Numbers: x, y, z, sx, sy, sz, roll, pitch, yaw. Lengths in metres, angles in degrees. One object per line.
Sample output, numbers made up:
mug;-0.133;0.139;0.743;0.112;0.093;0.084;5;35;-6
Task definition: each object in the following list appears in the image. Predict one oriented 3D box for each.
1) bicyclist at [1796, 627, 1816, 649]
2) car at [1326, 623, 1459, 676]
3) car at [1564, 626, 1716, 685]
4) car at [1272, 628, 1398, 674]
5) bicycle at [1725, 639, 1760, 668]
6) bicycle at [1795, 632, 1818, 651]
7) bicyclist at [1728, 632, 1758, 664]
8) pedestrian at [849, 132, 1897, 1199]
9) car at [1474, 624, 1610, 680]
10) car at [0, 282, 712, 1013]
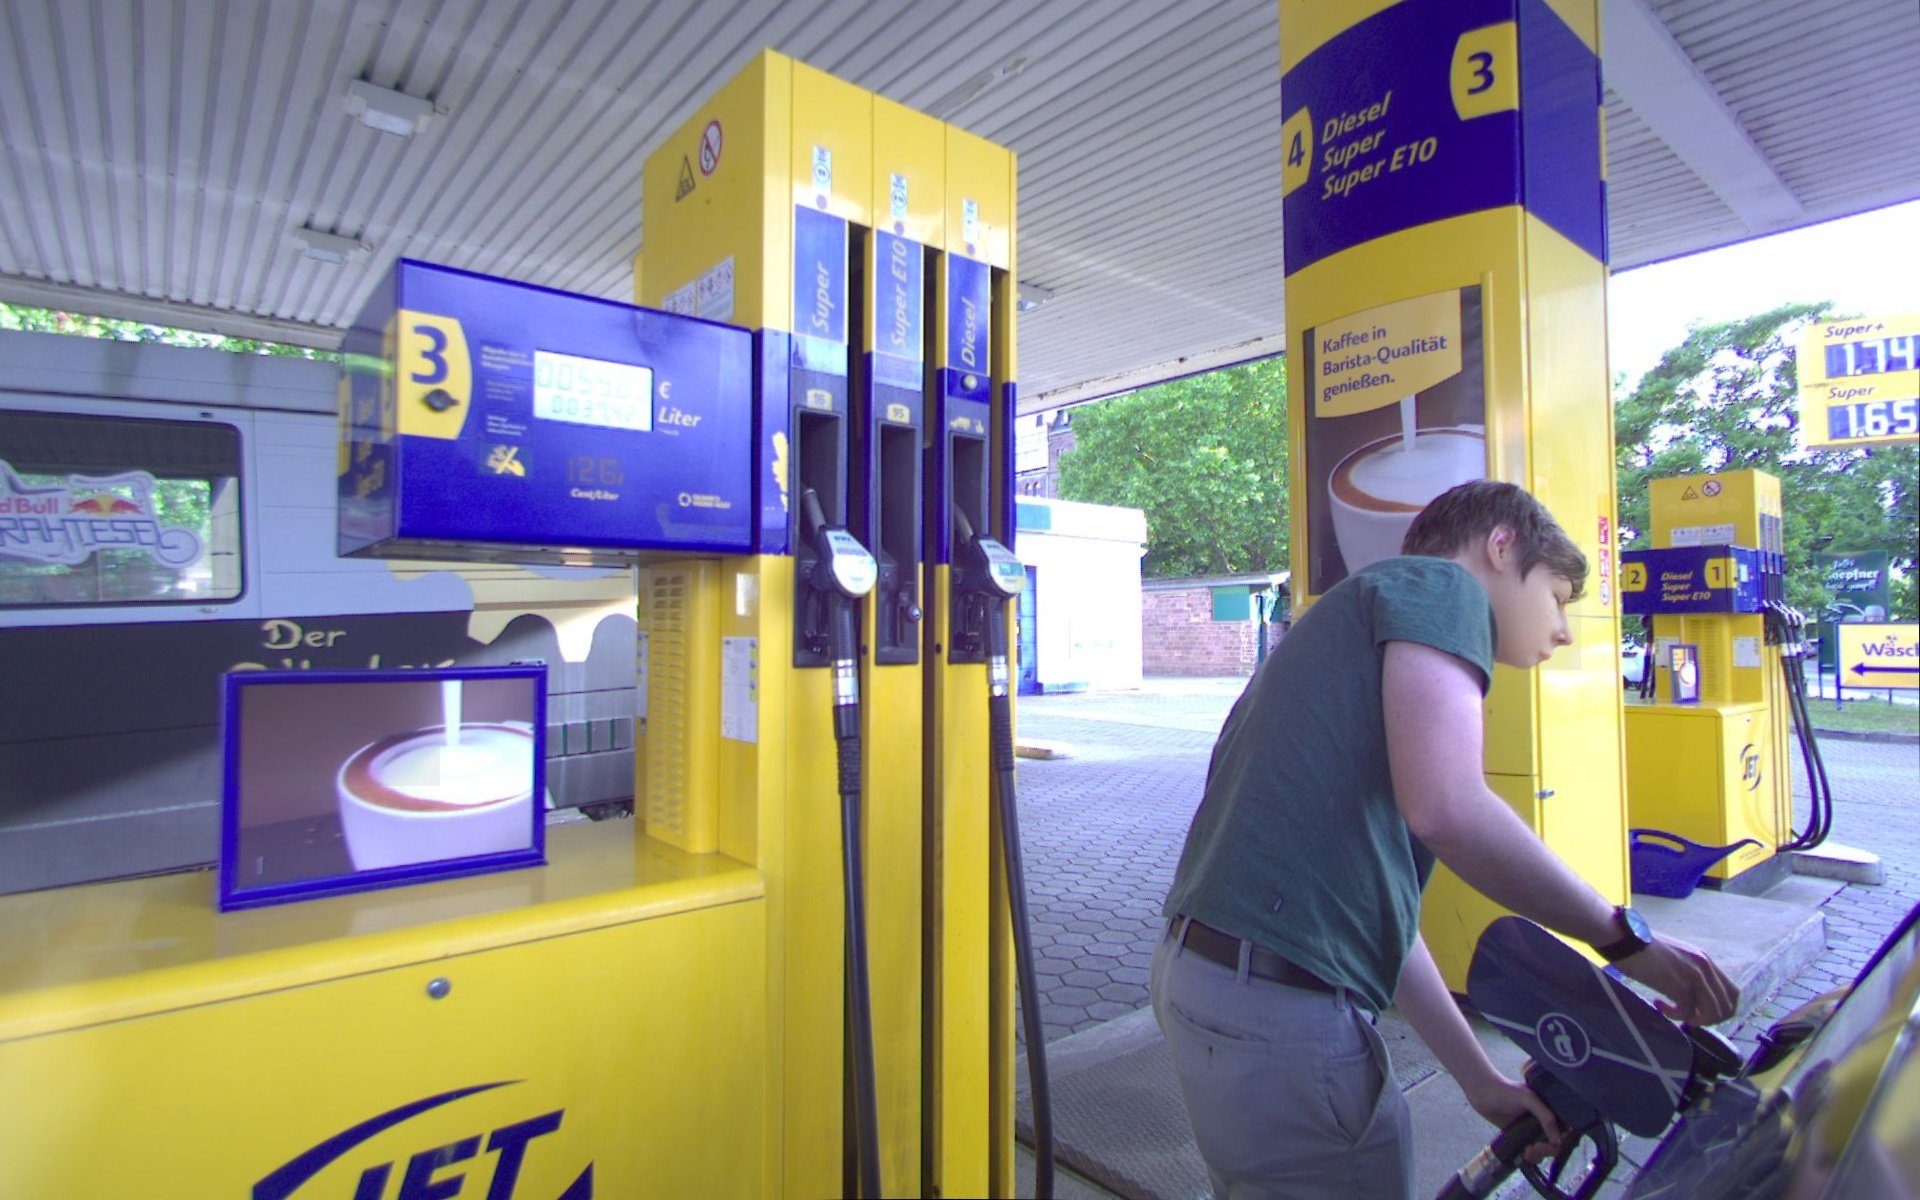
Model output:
bicyclist;59.667;2.687;71.389;0.783;1.469;1.165;0;0;26
car;13.772;1.571;32.163;4.112;1.606;1.826;2;-3;-31
car;18.245;1.489;27.128;4.112;1.478;1.826;2;-3;-31
car;12.633;1.702;34.026;4.112;1.453;1.826;2;-3;-31
bicycle;36.345;2.493;47.027;0.844;1.255;1.866;-2;-1;26
bicycle;59.637;2.920;71.325;0.783;1.255;1.866;0;0;26
bicyclist;36.319;2.235;46.969;0.844;1.441;1.028;-2;-1;26
pedestrian;0.605;0.510;1.511;1.161;1.750;0.993;-2;1;-38
car;17.761;1.581;30.845;4.112;1.606;1.826;2;-3;-31
car;-4.105;0.187;4.848;5.248;2.760;2.201;0;-1;-39
